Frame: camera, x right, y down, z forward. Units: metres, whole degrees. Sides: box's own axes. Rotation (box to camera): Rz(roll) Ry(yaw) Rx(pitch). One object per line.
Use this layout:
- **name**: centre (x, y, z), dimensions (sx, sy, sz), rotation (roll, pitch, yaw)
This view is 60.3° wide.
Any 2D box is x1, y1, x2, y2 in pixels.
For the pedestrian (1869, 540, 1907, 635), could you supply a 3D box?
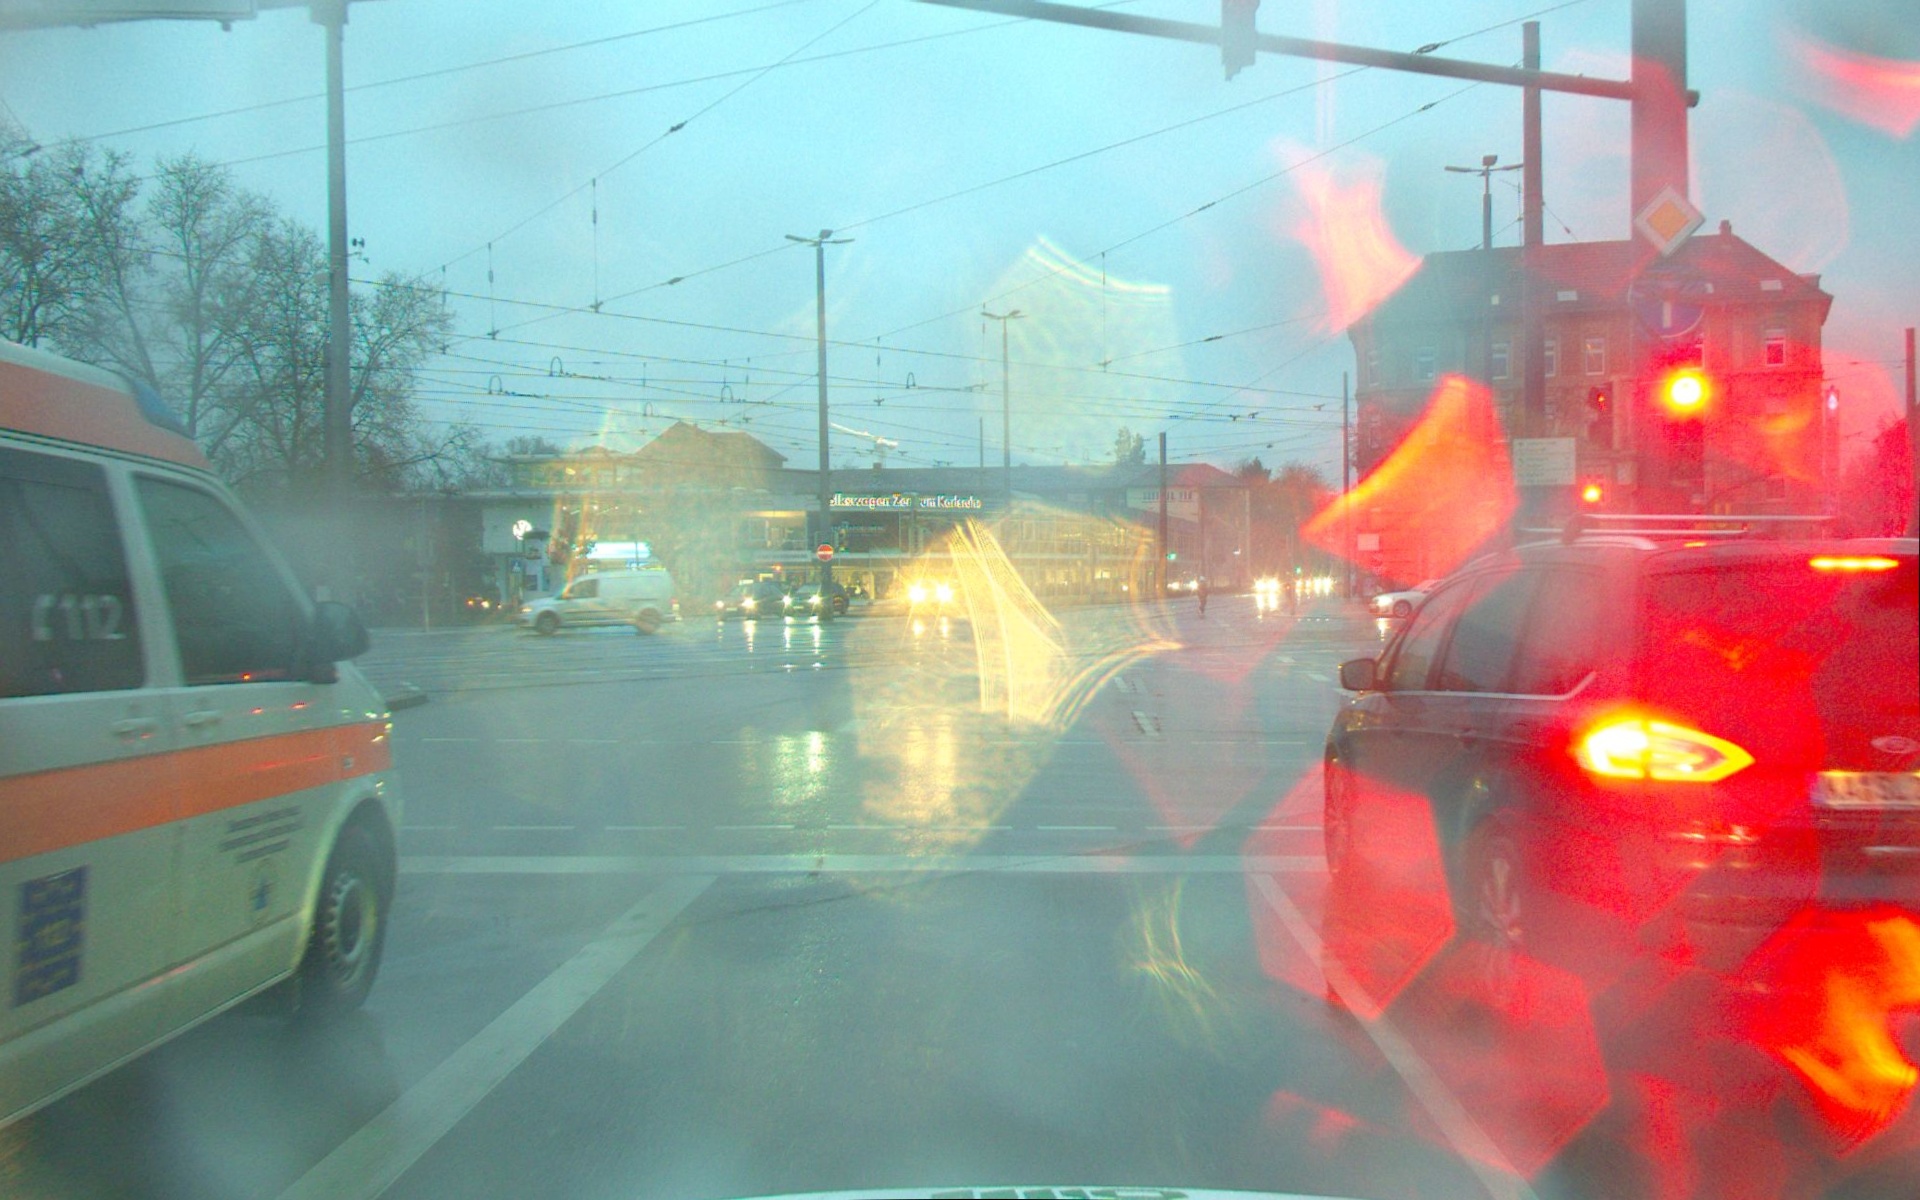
- **pedestrian**: centre (19.691, -0.259, 35.094), dimensions (0.663, 1.984, 0.661), rotation (-1, 0, 29)

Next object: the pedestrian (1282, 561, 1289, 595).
- **pedestrian**: centre (19.396, -1.323, 98.658), dimensions (0.336, 2.049, 0.418), rotation (-1, 0, 15)

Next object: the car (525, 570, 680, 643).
- **car**: centre (-10.718, 0.170, 49.507), dimensions (4.337, 2.049, 1.900), rotation (-1, 0, -20)

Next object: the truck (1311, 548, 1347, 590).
- **truck**: centre (24.984, -2.102, 111.795), dimensions (1.951, 2.738, 5.118), rotation (-1, 0, 17)

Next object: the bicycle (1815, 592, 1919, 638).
- **bicycle**: centre (20.580, 0.333, 37.568), dimensions (1.965, 0.998, 0.696), rotation (-1, 0, 17)

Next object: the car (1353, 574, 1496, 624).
- **car**: centre (16.773, -0.039, 59.862), dimensions (4.699, 1.686, 1.741), rotation (-1, 0, 1)

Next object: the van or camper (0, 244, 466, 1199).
- **van or camper**: centre (-3.019, 0.339, 3.833), dimensions (2.156, 2.146, 4.988), rotation (1, 0, 1)

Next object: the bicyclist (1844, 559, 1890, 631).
- **bicyclist**: centre (20.586, -0.123, 37.541), dimensions (0.760, 1.603, 0.696), rotation (-1, 0, 17)

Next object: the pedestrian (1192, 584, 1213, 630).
- **pedestrian**: centre (10.016, 0.300, 68.379), dimensions (0.586, 1.872, 0.611), rotation (-1, 0, -35)

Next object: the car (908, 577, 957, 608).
- **car**: centre (-1.341, -0.375, 81.821), dimensions (1.774, 1.472, 4.004), rotation (-1, 0, 9)

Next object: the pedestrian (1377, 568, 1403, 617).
- **pedestrian**: centre (18.454, -0.323, 70.986), dimensions (0.721, 2.049, 0.781), rotation (-1, 0, -29)

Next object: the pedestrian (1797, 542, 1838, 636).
- **pedestrian**: centre (18.346, -0.227, 35.401), dimensions (0.664, 1.984, 0.674), rotation (-1, 0, 36)

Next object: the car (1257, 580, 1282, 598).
- **car**: centre (28.536, -1.035, 152.477), dimensions (1.823, 1.629, 3.788), rotation (-1, 0, 18)

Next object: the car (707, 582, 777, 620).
- **car**: centre (-8.930, 0.015, 68.044), dimensions (1.774, 1.472, 4.004), rotation (-1, 0, 9)

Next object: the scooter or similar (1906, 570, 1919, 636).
- **scooter or similar**: centre (19.877, 0.060, 34.026), dimensions (0.663, 1.340, 0.826), rotation (-1, 0, 28)

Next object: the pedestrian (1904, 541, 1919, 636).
- **pedestrian**: centre (20.220, -0.240, 34.691), dimensions (0.663, 1.984, 0.661), rotation (-1, 0, 28)

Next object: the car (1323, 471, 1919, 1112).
- **car**: centre (2.824, 0.515, 6.936), dimensions (1.741, 1.831, 4.426), rotation (0, 1, 2)

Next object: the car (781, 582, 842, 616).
- **car**: centre (-6.672, -0.070, 74.733), dimensions (1.774, 1.472, 4.004), rotation (-1, 0, 9)
